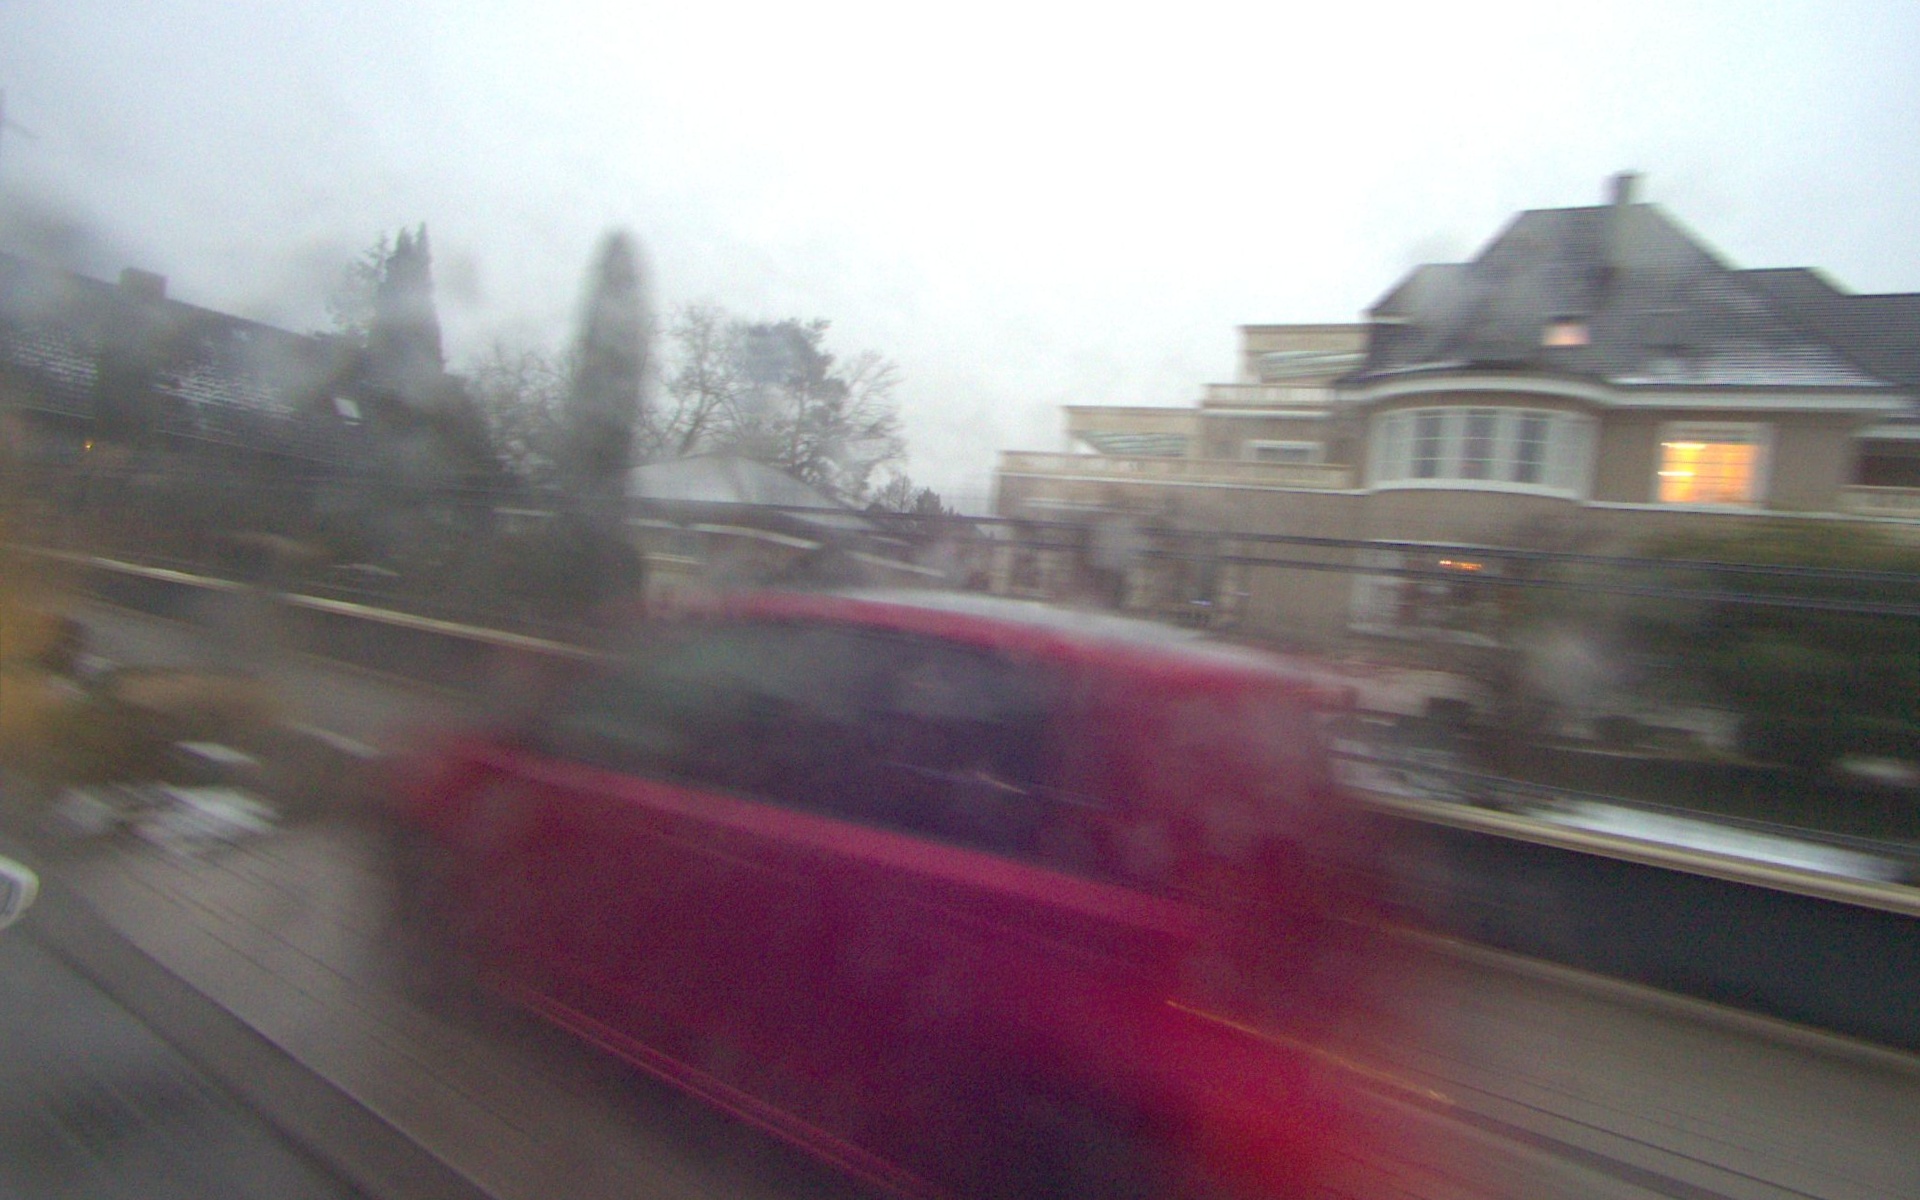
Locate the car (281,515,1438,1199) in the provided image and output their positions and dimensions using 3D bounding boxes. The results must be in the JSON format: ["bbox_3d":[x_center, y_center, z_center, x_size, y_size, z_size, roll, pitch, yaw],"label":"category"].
[{"bbox_3d":[-0.468,0.647,3.243,3.335,1.561,1.648,6,3,33],"label":"car"}]
